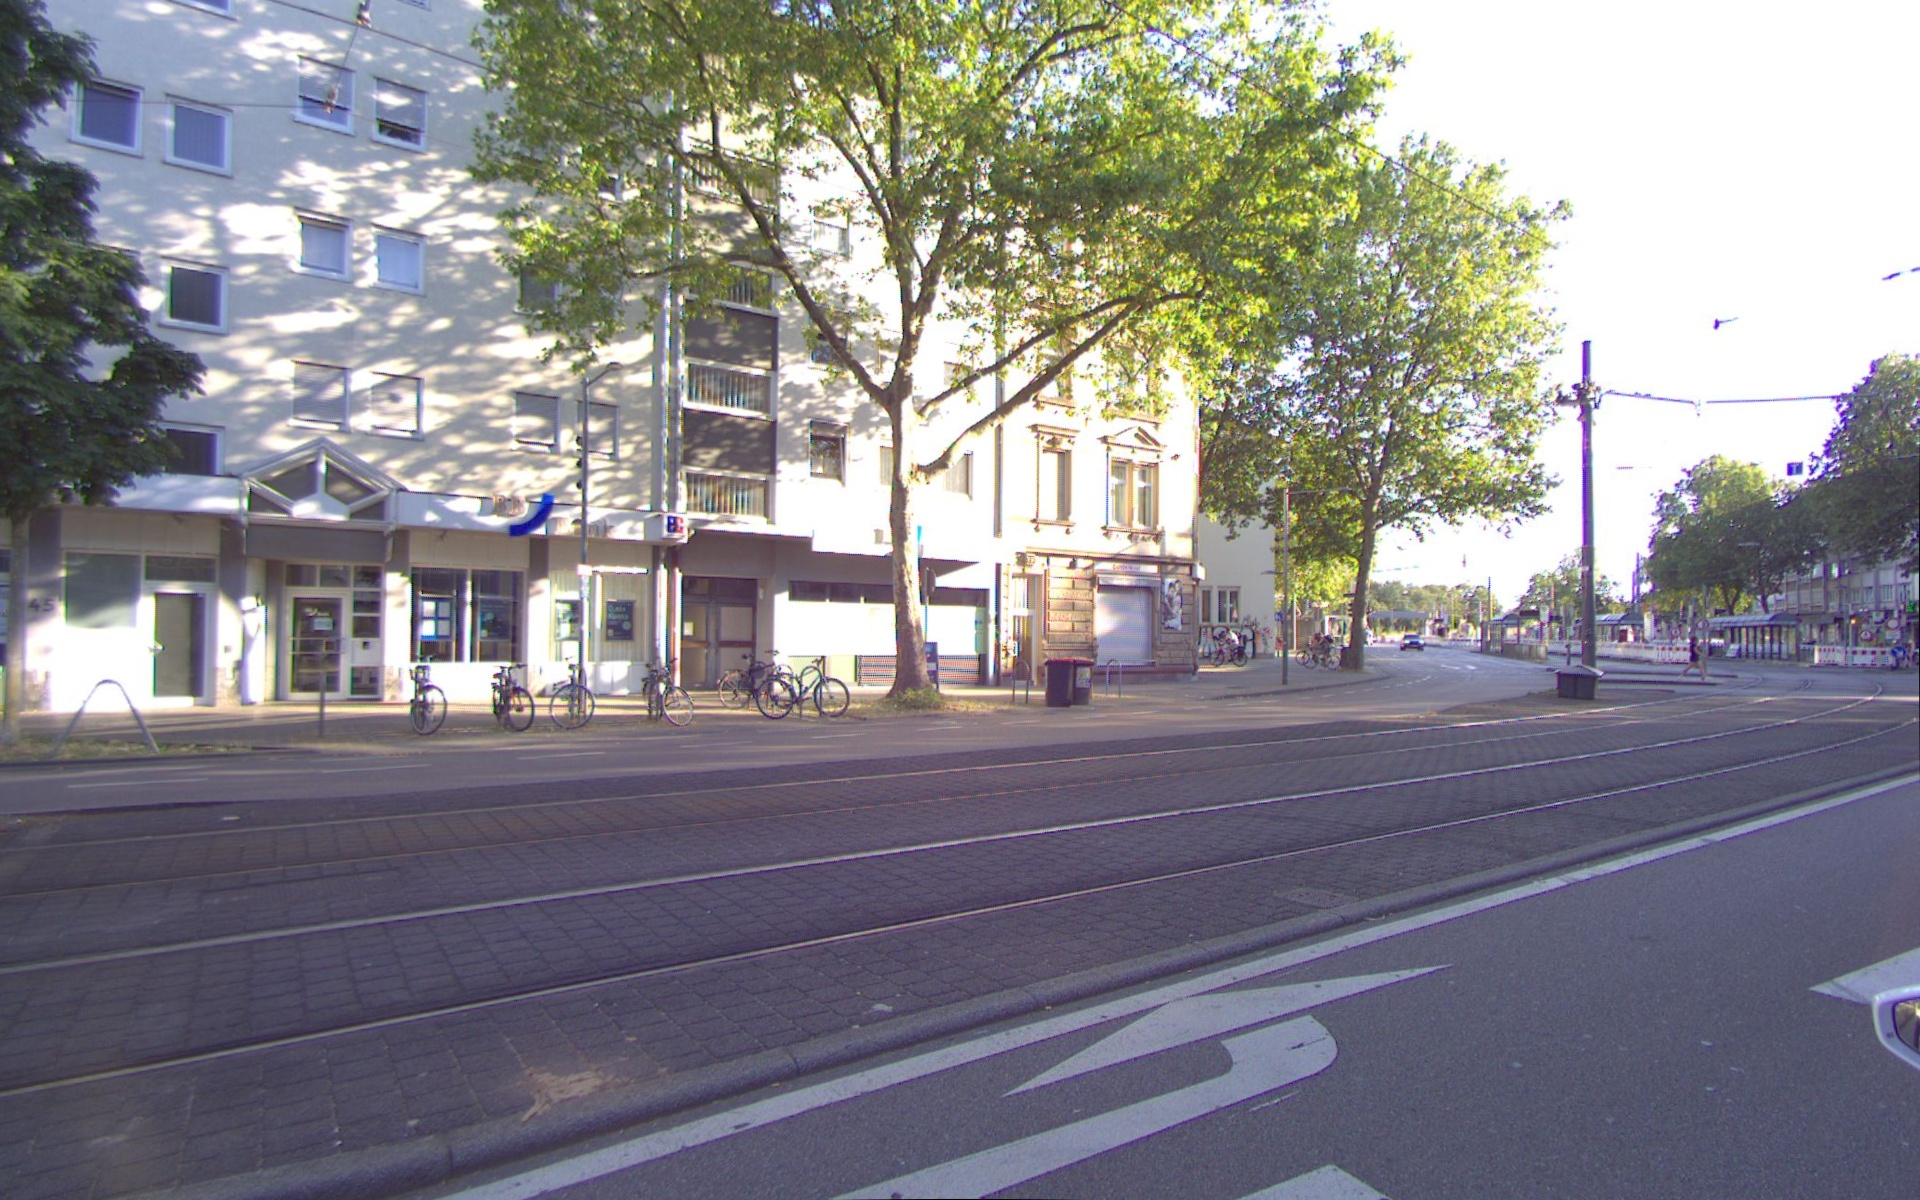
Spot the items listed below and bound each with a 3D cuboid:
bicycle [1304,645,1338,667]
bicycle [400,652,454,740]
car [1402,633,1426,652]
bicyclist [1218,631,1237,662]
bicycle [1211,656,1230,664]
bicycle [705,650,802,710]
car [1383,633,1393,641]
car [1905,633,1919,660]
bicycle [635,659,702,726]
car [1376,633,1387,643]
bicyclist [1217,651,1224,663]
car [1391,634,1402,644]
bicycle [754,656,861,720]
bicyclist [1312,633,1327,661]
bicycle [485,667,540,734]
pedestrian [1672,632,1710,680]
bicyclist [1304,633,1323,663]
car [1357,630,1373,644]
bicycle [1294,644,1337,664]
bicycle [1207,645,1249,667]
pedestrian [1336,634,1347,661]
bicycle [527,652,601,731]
[{"bbox_3d":[16.841,2.614,46.920,1.480,0.998,0.451,0,-2,17],"label":"bicycle"},{"bbox_3d":[-7.836,1.377,14.742,0.506,1.153,1.729,2,-1,-34],"label":"bicycle"},{"bbox_3d":[42.032,3.897,92.916,1.962,1.661,3.997,0,-2,25],"label":"car"},{"bbox_3d":[12.836,2.209,48.233,0.825,1.463,0.627,0,-2,9],"label":"bicyclist"},{"bbox_3d":[13.111,3.025,50.511,0.941,0.404,0.290,0,-2,14],"label":"bicycle"},{"bbox_3d":[-4.097,1.570,19.944,1.777,1.132,0.617,2,-2,-29],"label":"bicycle"},{"bbox_3d":[89.571,7.697,210.268,1.814,1.706,3.716,0,-2,23],"label":"car"},{"bbox_3d":[64.597,3.133,66.140,1.960,1.815,4.000,2,-1,20],"label":"car"},{"bbox_3d":[-4.986,1.543,17.103,0.584,1.002,1.729,2,-1,-34],"label":"bicycle"},{"bbox_3d":[79.453,7.153,189.318,1.814,1.706,3.716,0,-2,23],"label":"car"},{"bbox_3d":[13.097,2.858,50.520,0.302,0.597,0.280,0,-2,15],"label":"bicyclist"},{"bbox_3d":[78.773,6.993,181.336,1.814,1.706,3.715,-2,-2,23],"label":"car"},{"bbox_3d":[-2.748,1.564,18.137,1.800,1.091,0.649,2,-2,-29],"label":"bicycle"},{"bbox_3d":[16.805,2.196,46.944,0.628,1.310,0.457,0,-2,17],"label":"bicyclist"},{"bbox_3d":[-6.935,1.524,15.530,0.467,0.900,1.729,2,-1,-34],"label":"bicycle"},{"bbox_3d":[26.979,2.072,37.065,0.639,1.708,0.985,3,-2,-41],"label":"pedestrian"},{"bbox_3d":[17.862,2.420,50.705,0.826,1.463,0.755,0,-2,27],"label":"bicyclist"},{"bbox_3d":[52.632,4.804,130.407,1.765,1.820,3.998,0,-2,24],"label":"car"},{"bbox_3d":[17.936,2.711,50.663,1.987,0.950,0.759,0,-2,27],"label":"bicycle"},{"bbox_3d":[12.857,2.668,48.217,1.875,1.018,0.621,0,-2,10],"label":"bicycle"},{"bbox_3d":[23.573,2.923,62.099,0.645,1.678,0.444,0,-2,18],"label":"pedestrian"},{"bbox_3d":[-6.356,1.426,16.070,0.724,1.128,1.729,2,-1,-34],"label":"bicycle"}]
